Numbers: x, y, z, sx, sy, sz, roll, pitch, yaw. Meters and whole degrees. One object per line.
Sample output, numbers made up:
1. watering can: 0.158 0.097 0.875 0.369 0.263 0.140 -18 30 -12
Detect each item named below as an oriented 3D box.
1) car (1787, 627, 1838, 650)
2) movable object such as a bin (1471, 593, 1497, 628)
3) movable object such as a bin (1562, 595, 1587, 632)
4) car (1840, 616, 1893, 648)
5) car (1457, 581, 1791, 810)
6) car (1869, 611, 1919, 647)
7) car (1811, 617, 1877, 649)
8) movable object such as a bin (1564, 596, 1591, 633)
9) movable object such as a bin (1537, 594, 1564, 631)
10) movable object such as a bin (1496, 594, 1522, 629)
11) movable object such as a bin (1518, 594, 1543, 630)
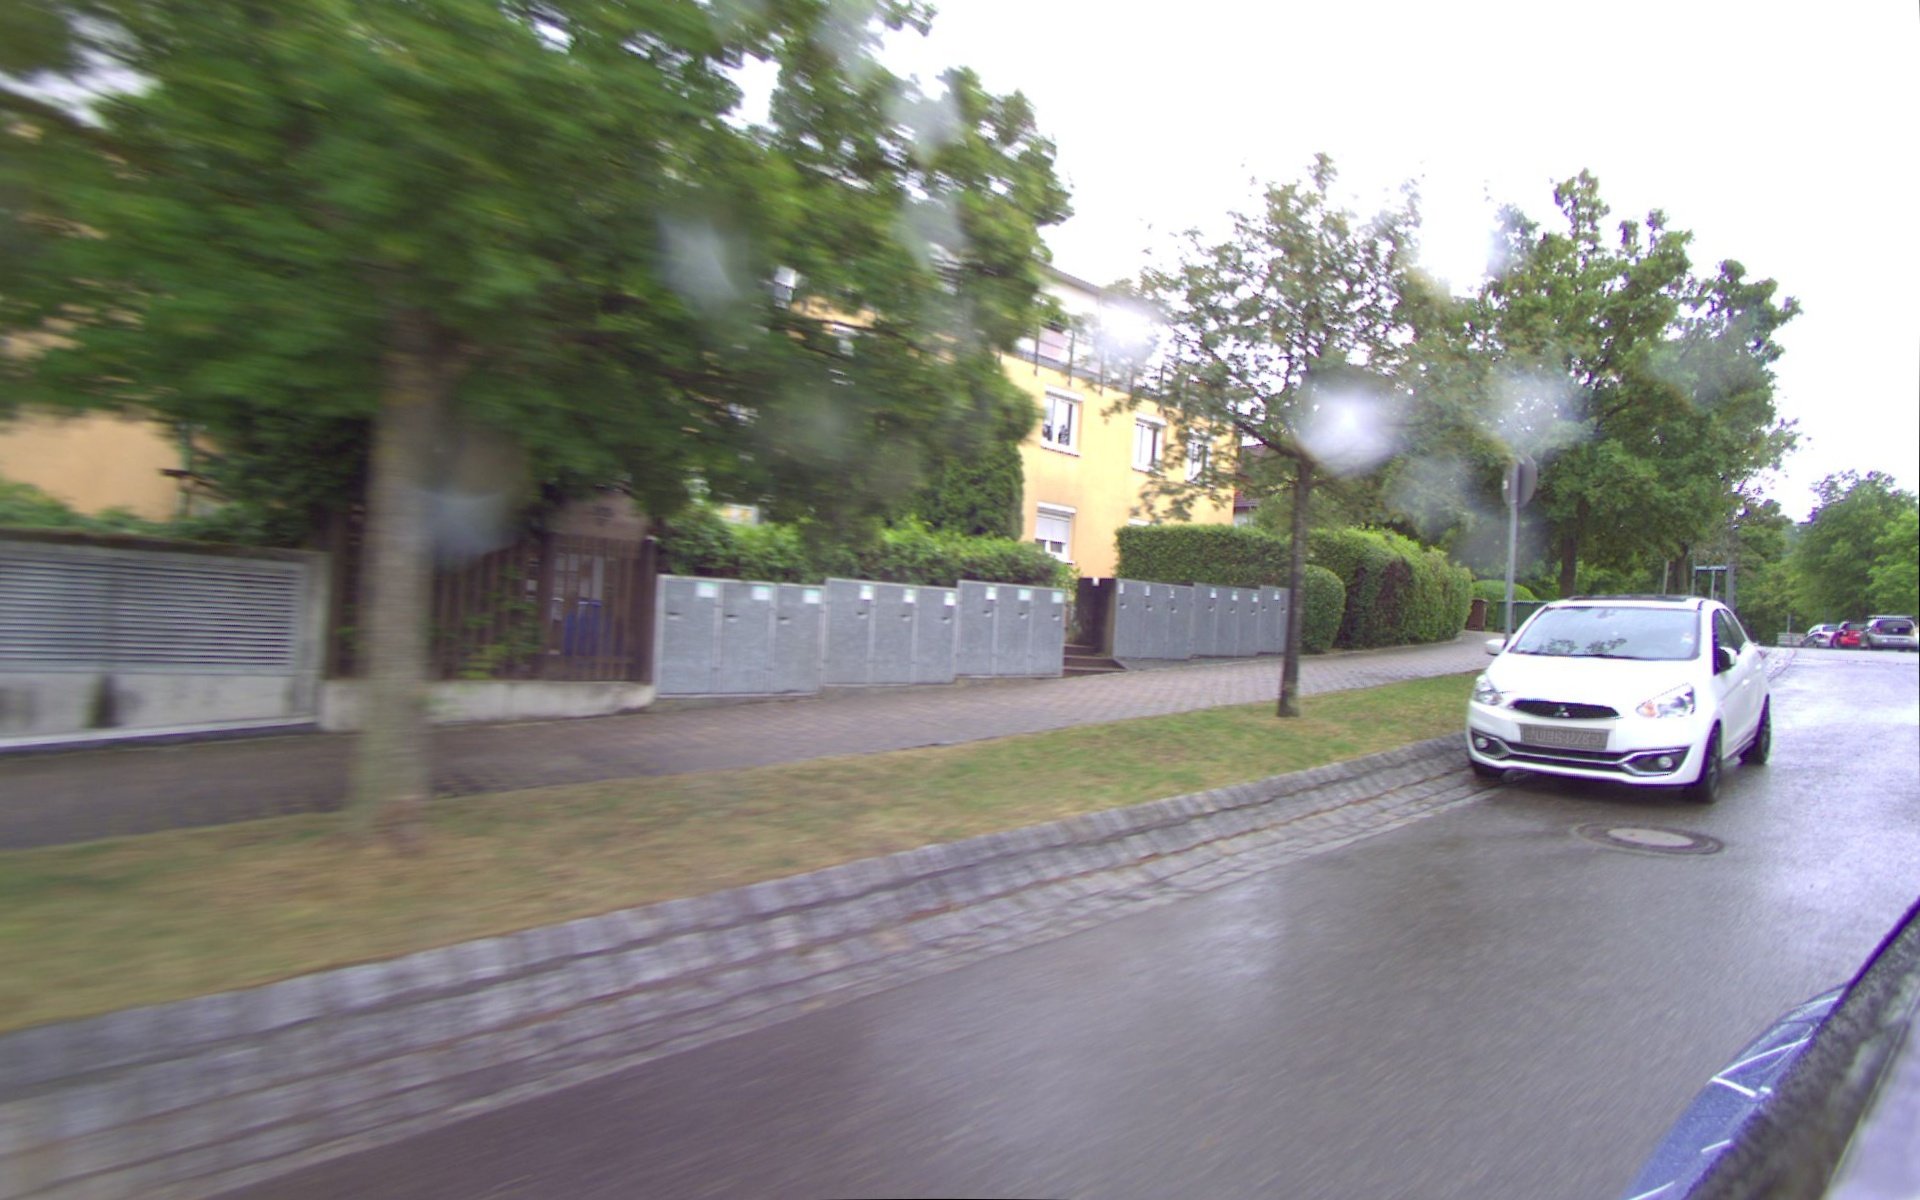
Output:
1. car: 51.732 2.322 61.460 1.718 1.297 3.293 2 -1 29
2. movable object such as a bin: 16.946 0.340 32.743 0.602 1.068 0.687 2 -1 38
3. movable object such as a bin: 18.486 0.408 30.433 0.541 1.087 0.658 2 -1 39
4. car: 44.117 1.550 49.306 1.544 1.455 2.973 1 -2 35
5. car: 5.742 0.625 8.582 3.664 1.521 1.607 0 0 -44
6. car: 41.267 1.279 44.385 1.669 1.498 3.508 1 -1 35
7. car: 47.484 1.797 54.442 1.836 1.572 3.947 2 -2 29
8. movable object such as a bin: 18.937 0.438 31.040 0.599 1.088 0.687 2 -1 38
9. movable object such as a bin: 18.024 0.381 30.871 0.594 1.086 0.687 2 -1 38
10. movable object such as a bin: 17.513 0.367 32.279 0.602 1.068 0.687 2 -1 38
11. movable object such as a bin: 17.953 0.381 31.837 0.576 1.080 0.687 2 -1 38
